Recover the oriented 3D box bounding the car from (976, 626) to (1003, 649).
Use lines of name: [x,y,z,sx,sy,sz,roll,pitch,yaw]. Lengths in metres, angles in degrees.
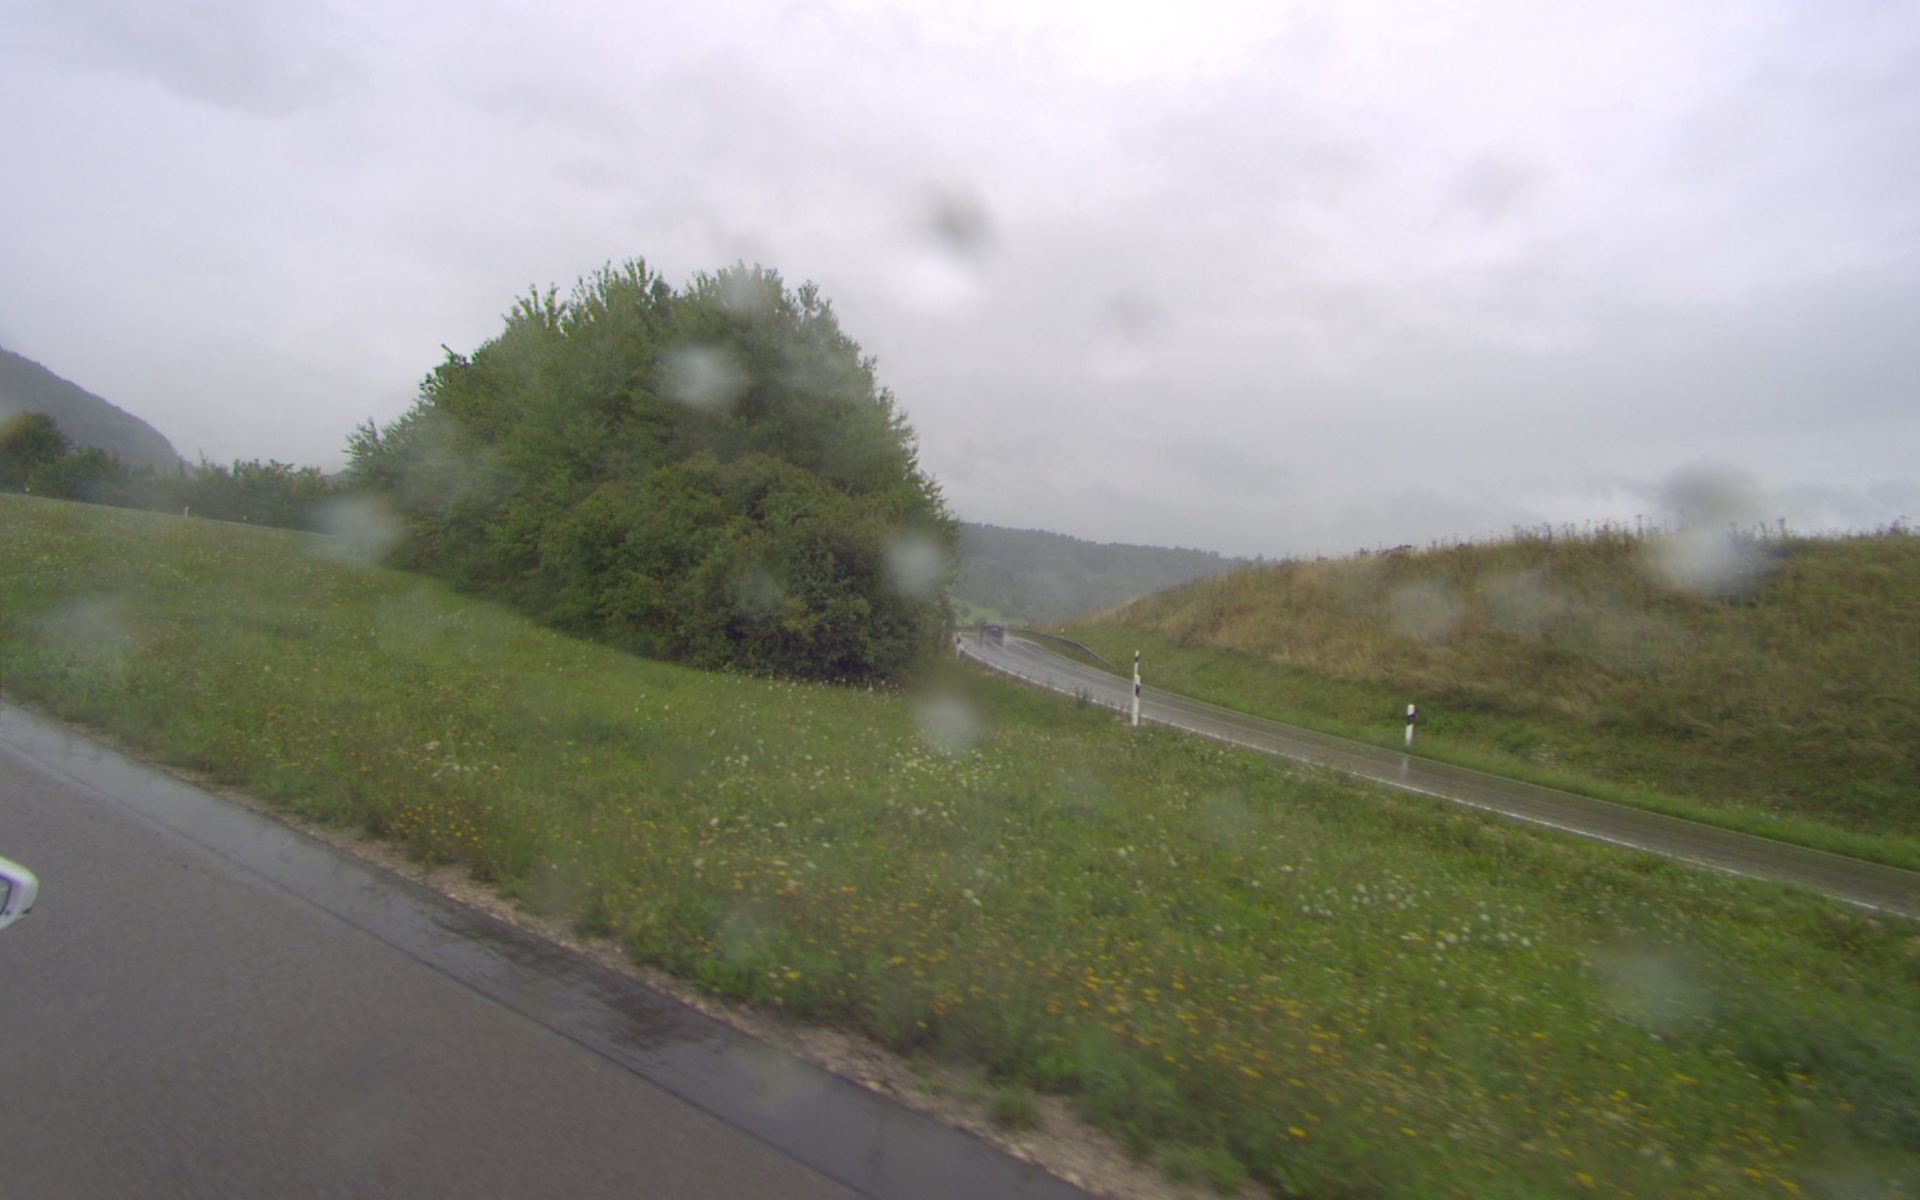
car: [2.268,2.880,77.864,1.675,1.525,3.635,8,-2,-2]
